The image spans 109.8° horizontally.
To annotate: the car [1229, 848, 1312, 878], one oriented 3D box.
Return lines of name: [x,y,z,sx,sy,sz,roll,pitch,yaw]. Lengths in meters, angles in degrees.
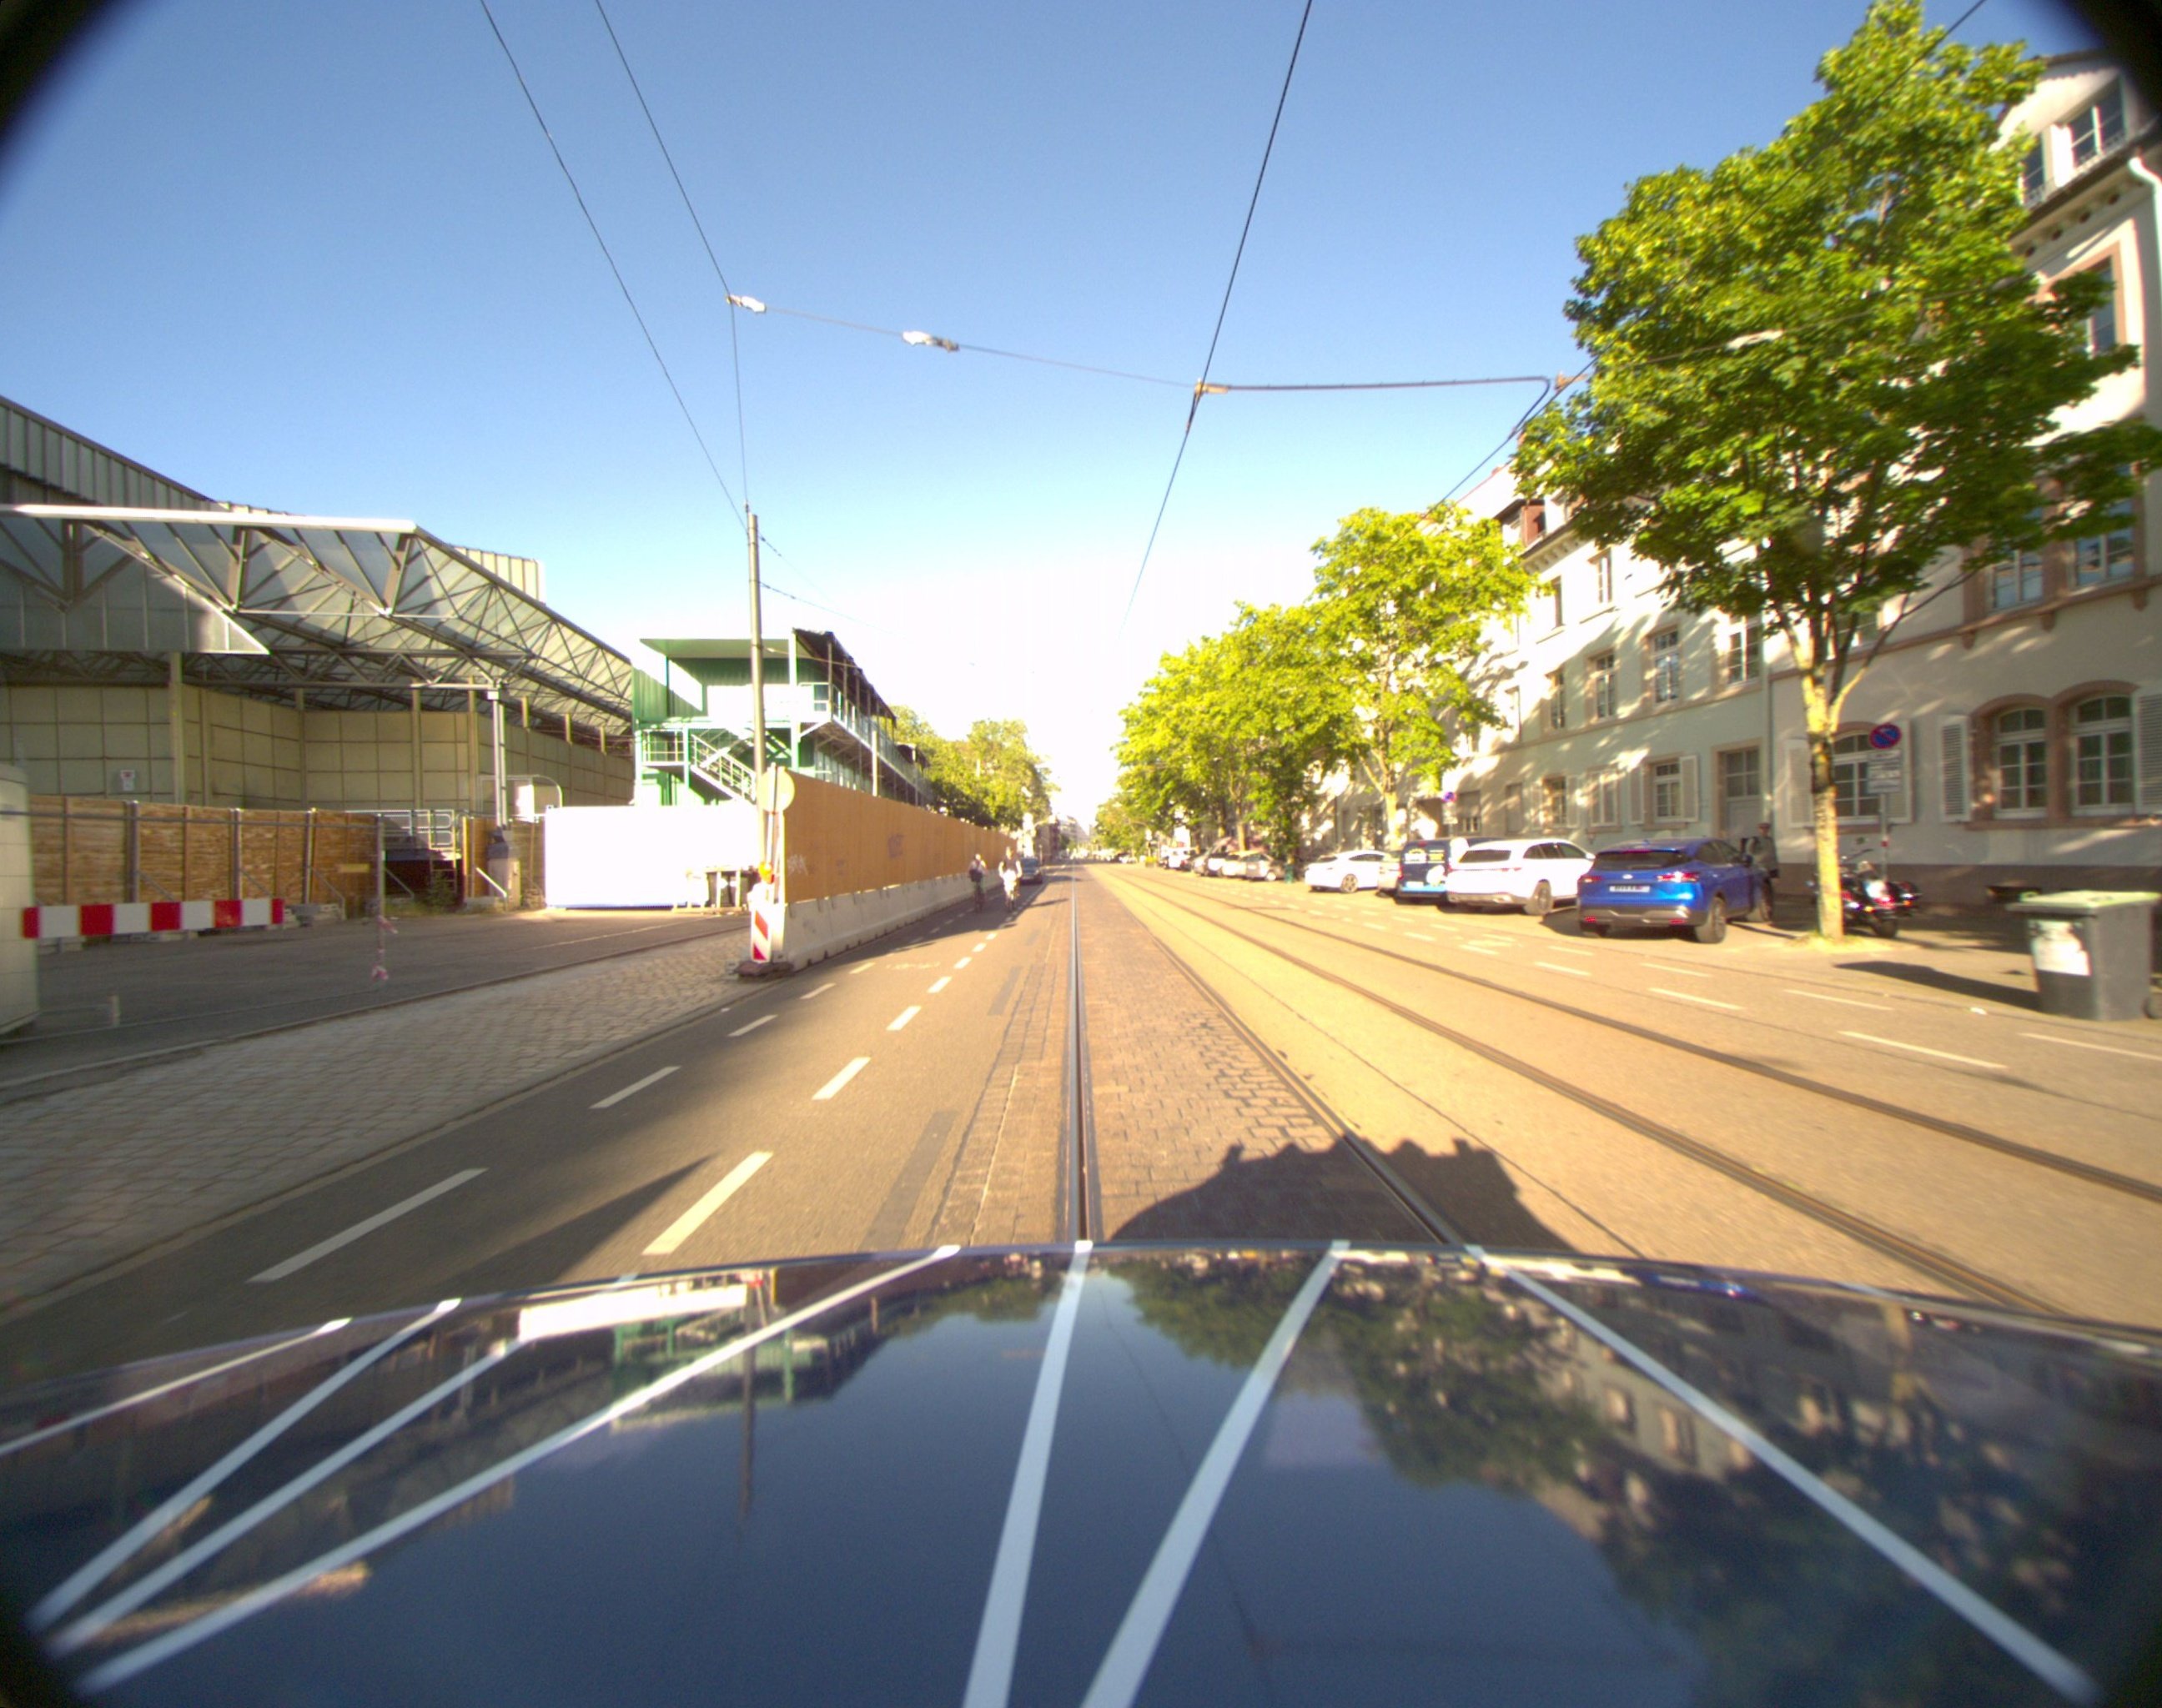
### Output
car: [10.436,0.455,41.931,4.174,1.543,1.700,-1,1,-16]

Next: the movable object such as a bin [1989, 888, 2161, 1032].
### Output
movable object such as a bin: [8.525,0.872,6.461,0.685,1.072,0.710,-5,1,1]

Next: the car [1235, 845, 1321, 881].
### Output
car: [10.162,0.451,39.201,4.003,1.667,1.699,-3,1,-20]

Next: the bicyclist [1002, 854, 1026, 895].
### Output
bicyclist: [-2.003,0.610,22.744,0.653,1.230,0.353,-1,1,-2]

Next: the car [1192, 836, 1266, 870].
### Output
car: [9.915,-0.087,51.123,4.449,2.106,2.163,-2,1,-3]

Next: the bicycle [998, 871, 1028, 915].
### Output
bicycle: [-1.985,1.112,22.386,0.669,1.148,2.275,-3,1,-1]

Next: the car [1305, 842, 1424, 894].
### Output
car: [10.335,0.474,27.762,3.650,1.521,1.883,-5,2,-20]

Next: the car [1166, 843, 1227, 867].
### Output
car: [10.200,0.057,67.182,4.946,2.002,2.071,-2,1,-24]

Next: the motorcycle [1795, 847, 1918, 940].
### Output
motorcycle: [11.728,0.530,11.597,0.724,1.246,2.605,0,1,32]

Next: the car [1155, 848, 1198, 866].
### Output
car: [9.521,0.328,75.600,4.005,1.549,1.777,-3,2,-30]

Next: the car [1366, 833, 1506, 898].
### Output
car: [10.985,0.341,23.464,4.005,1.647,1.807,-5,1,-28]

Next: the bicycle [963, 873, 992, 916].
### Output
bicycle: [-3.043,1.177,22.545,0.558,1.120,2.275,-2,1,-1]

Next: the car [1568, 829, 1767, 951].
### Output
car: [9.912,0.514,12.753,3.908,1.599,1.570,-5,0,-37]

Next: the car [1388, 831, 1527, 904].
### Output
car: [10.304,0.324,20.765,3.451,1.832,1.729,-1,1,-29]

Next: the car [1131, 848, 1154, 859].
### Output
car: [9.675,-0.079,119.698,3.337,1.446,1.496,-3,2,1]

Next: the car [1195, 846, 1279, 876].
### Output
car: [9.884,0.405,48.436,4.842,1.714,2.163,-2,1,-3]

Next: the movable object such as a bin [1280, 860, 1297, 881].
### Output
movable object such as a bin: [9.812,0.780,35.912,0.623,0.939,0.670,0,1,-2]

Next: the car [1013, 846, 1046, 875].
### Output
car: [-3.108,0.420,46.476,1.750,1.612,4.170,-1,-1,0]

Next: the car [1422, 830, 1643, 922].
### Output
car: [10.573,0.419,17.733,4.947,1.784,2.204,-2,1,-29]

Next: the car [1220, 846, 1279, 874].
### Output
car: [10.082,0.363,45.309,3.380,1.544,1.381,-2,1,-31]

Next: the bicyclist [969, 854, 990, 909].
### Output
bicyclist: [-3.030,0.809,22.696,0.557,1.604,0.576,-1,1,-2]

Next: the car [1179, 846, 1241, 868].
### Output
car: [10.704,0.259,63.414,4.708,1.567,1.953,-3,1,-5]

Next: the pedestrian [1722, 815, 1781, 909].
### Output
pedestrian: [13.441,0.152,15.244,0.645,1.827,0.624,-1,1,1]
